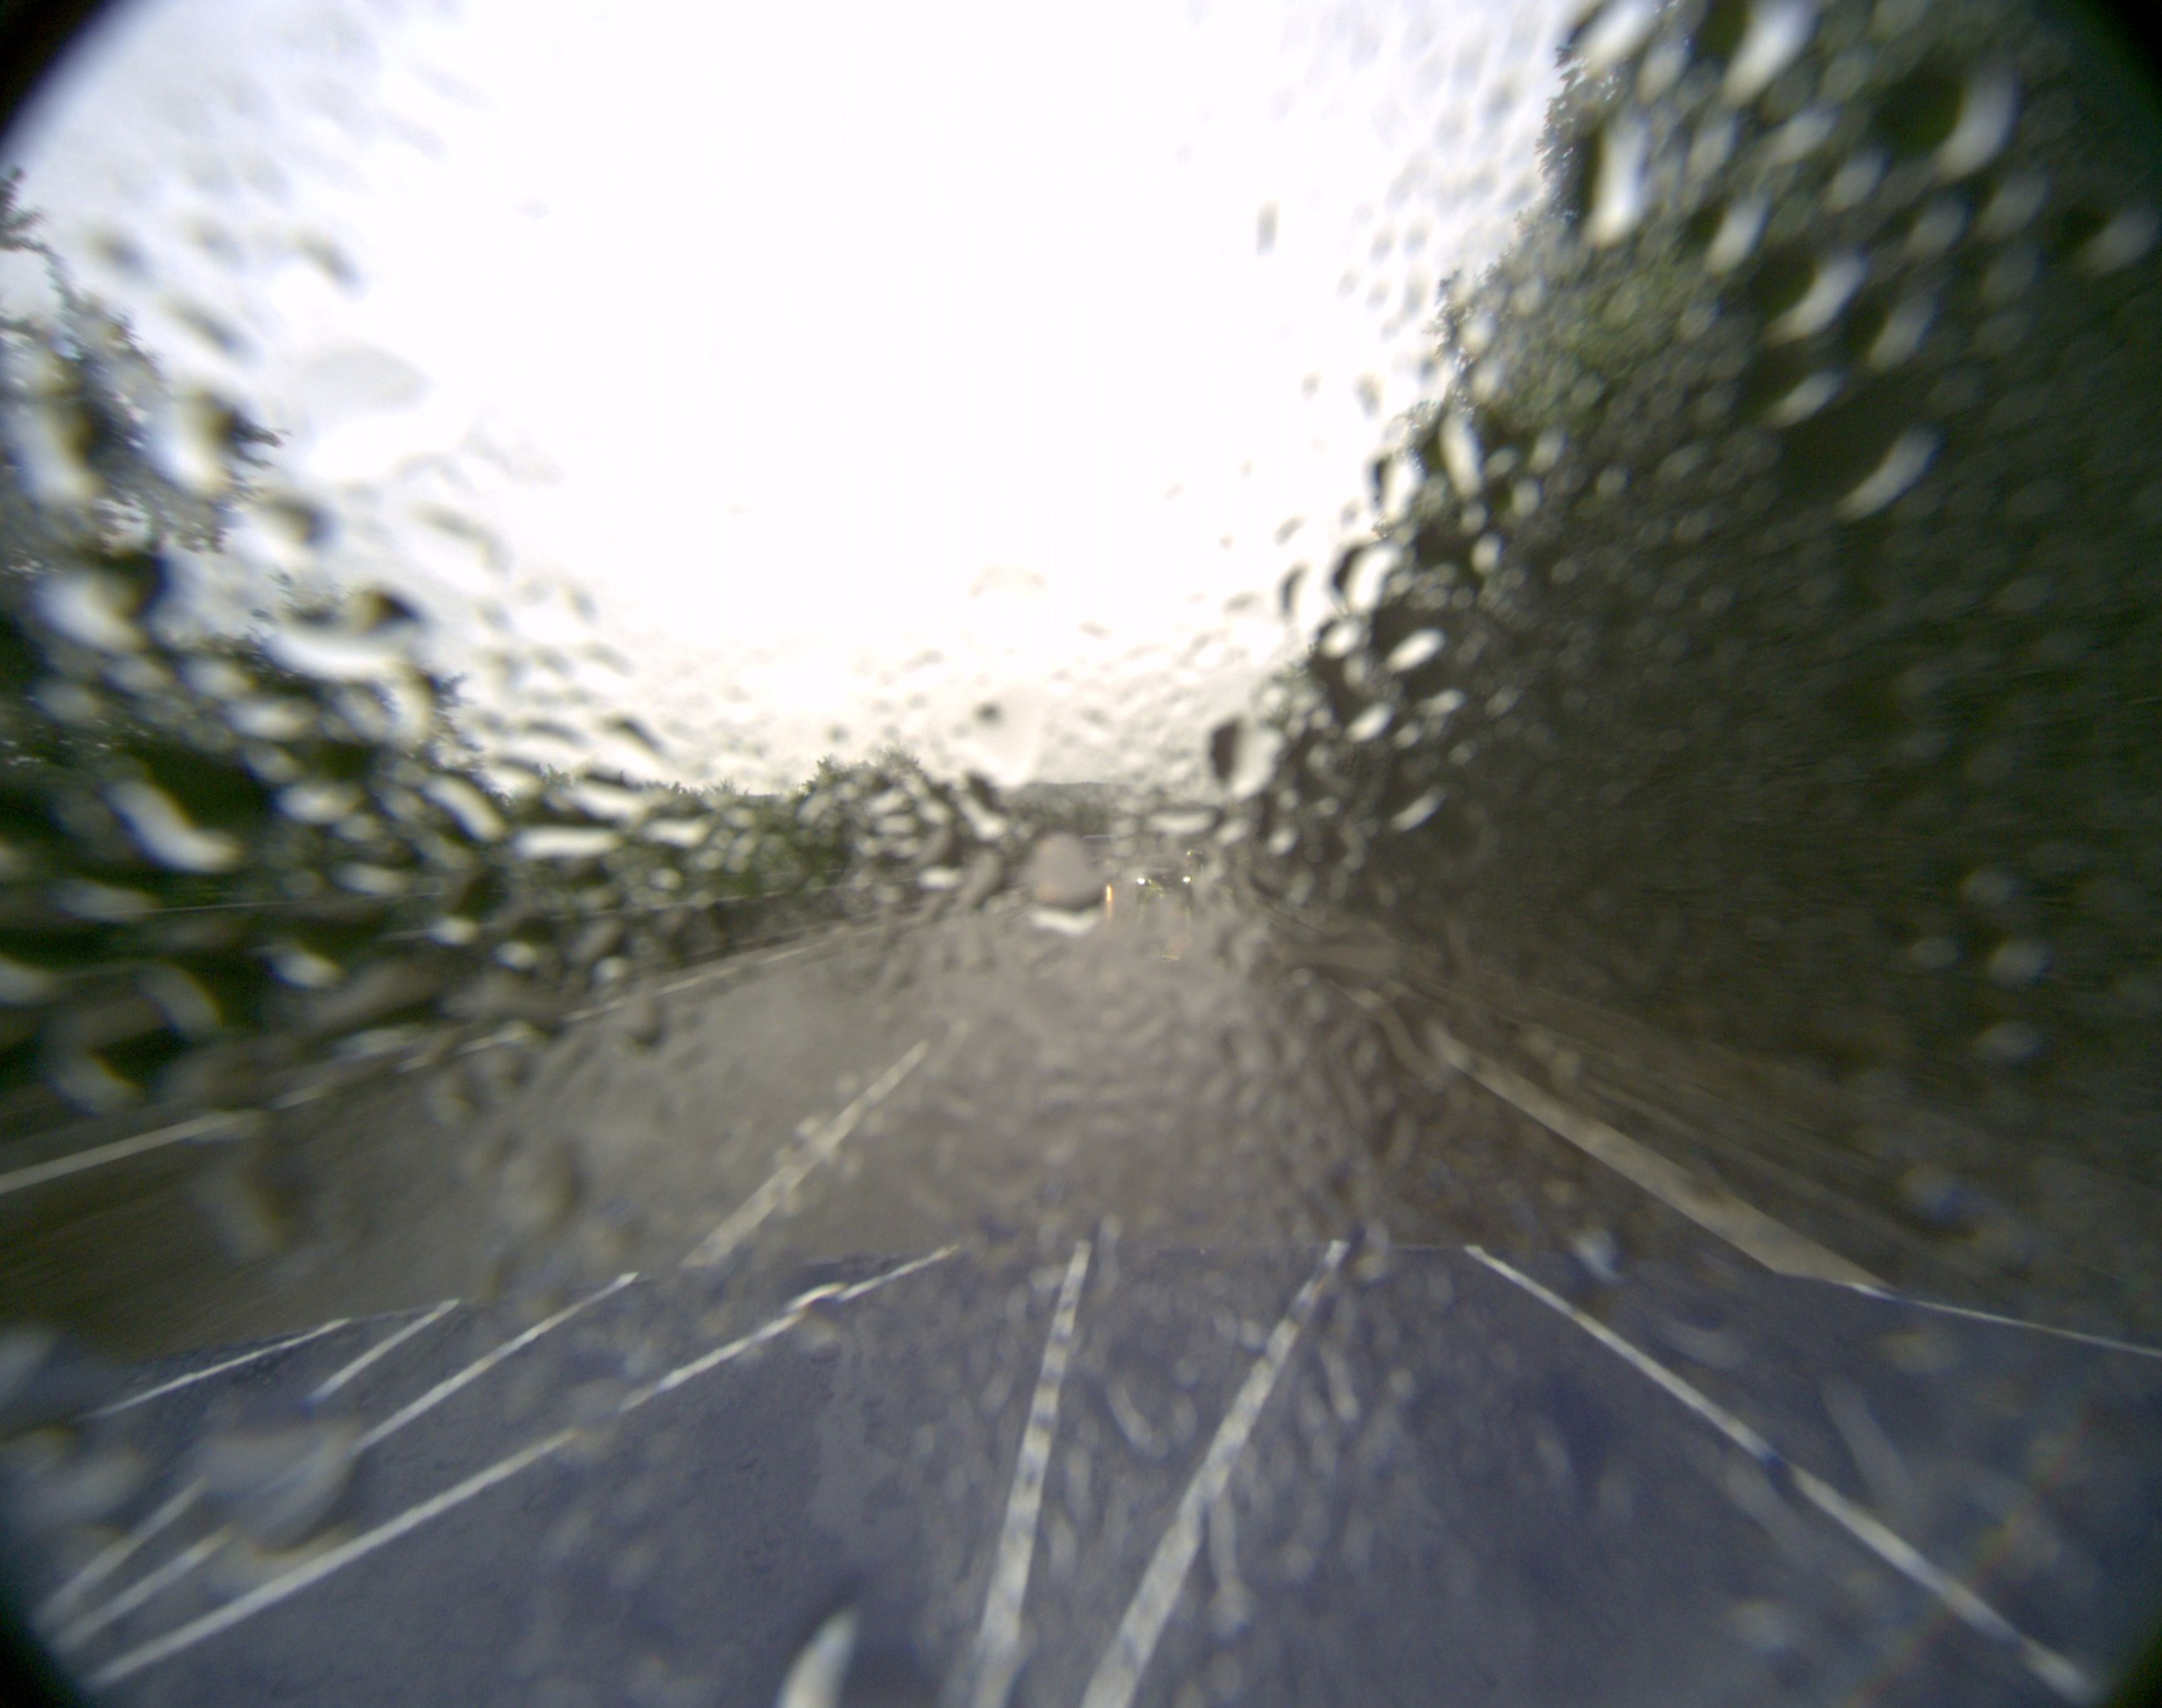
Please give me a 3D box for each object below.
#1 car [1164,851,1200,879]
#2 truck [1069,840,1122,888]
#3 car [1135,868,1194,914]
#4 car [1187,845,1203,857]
[{"bbox_3d":[5.727,0.576,43.169,1.826,1.375,4.002,-4,0,7],"label":"car"},{"bbox_3d":[0.962,0.485,43.720,2.107,2.481,8.006,-1,0,7],"label":"truck"},{"bbox_3d":[2.855,1.220,26.192,1.826,1.375,4.002,-1,-1,5],"label":"car"},{"bbox_3d":[15.290,-0.382,101.697,1.826,1.375,4.002,-4,0,10],"label":"car"}]
